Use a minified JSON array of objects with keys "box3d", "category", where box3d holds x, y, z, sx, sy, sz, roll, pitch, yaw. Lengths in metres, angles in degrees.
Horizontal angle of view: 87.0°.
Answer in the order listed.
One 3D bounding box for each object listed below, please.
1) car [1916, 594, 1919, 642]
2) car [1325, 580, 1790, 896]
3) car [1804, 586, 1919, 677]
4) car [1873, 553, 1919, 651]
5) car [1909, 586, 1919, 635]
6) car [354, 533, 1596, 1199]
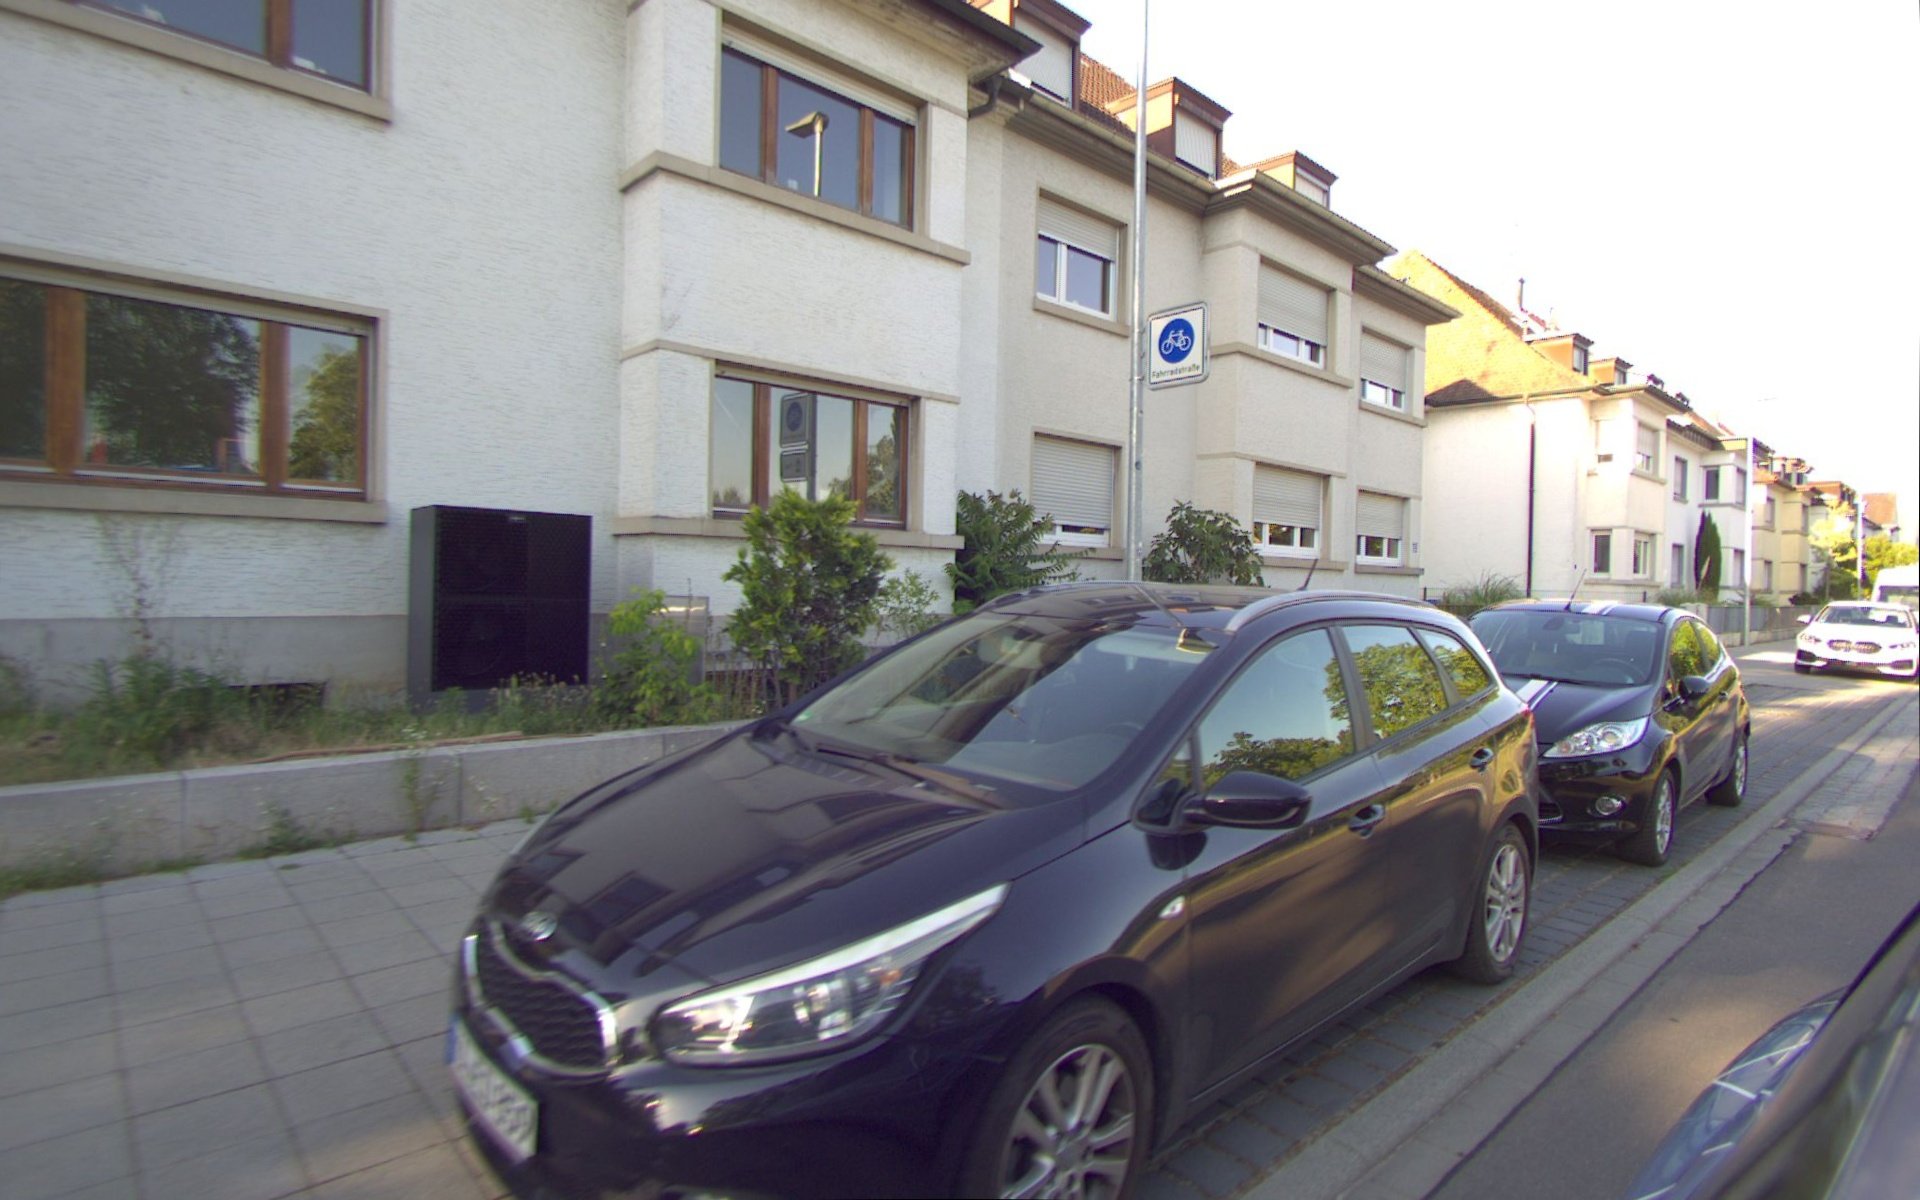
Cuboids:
[{"box3d":[31.798,0.573,32.240,4.037,1.501,1.624,0,1,-42],"category":"car"},{"box3d":[4.294,0.669,7.000,3.917,1.489,1.721,0,4,-44],"category":"car"},{"box3d":[18.025,0.549,19.809,4.163,1.525,1.785,0,4,-44],"category":"car"},{"box3d":[27.309,0.059,28.417,5.418,2.549,2.131,0,2,-45],"category":"car"},{"box3d":[35.260,0.392,36.062,4.405,1.665,1.780,0,2,-43],"category":"car"},{"box3d":[0.534,0.618,3.449,4.184,1.492,1.749,0,3,-44],"category":"car"}]
